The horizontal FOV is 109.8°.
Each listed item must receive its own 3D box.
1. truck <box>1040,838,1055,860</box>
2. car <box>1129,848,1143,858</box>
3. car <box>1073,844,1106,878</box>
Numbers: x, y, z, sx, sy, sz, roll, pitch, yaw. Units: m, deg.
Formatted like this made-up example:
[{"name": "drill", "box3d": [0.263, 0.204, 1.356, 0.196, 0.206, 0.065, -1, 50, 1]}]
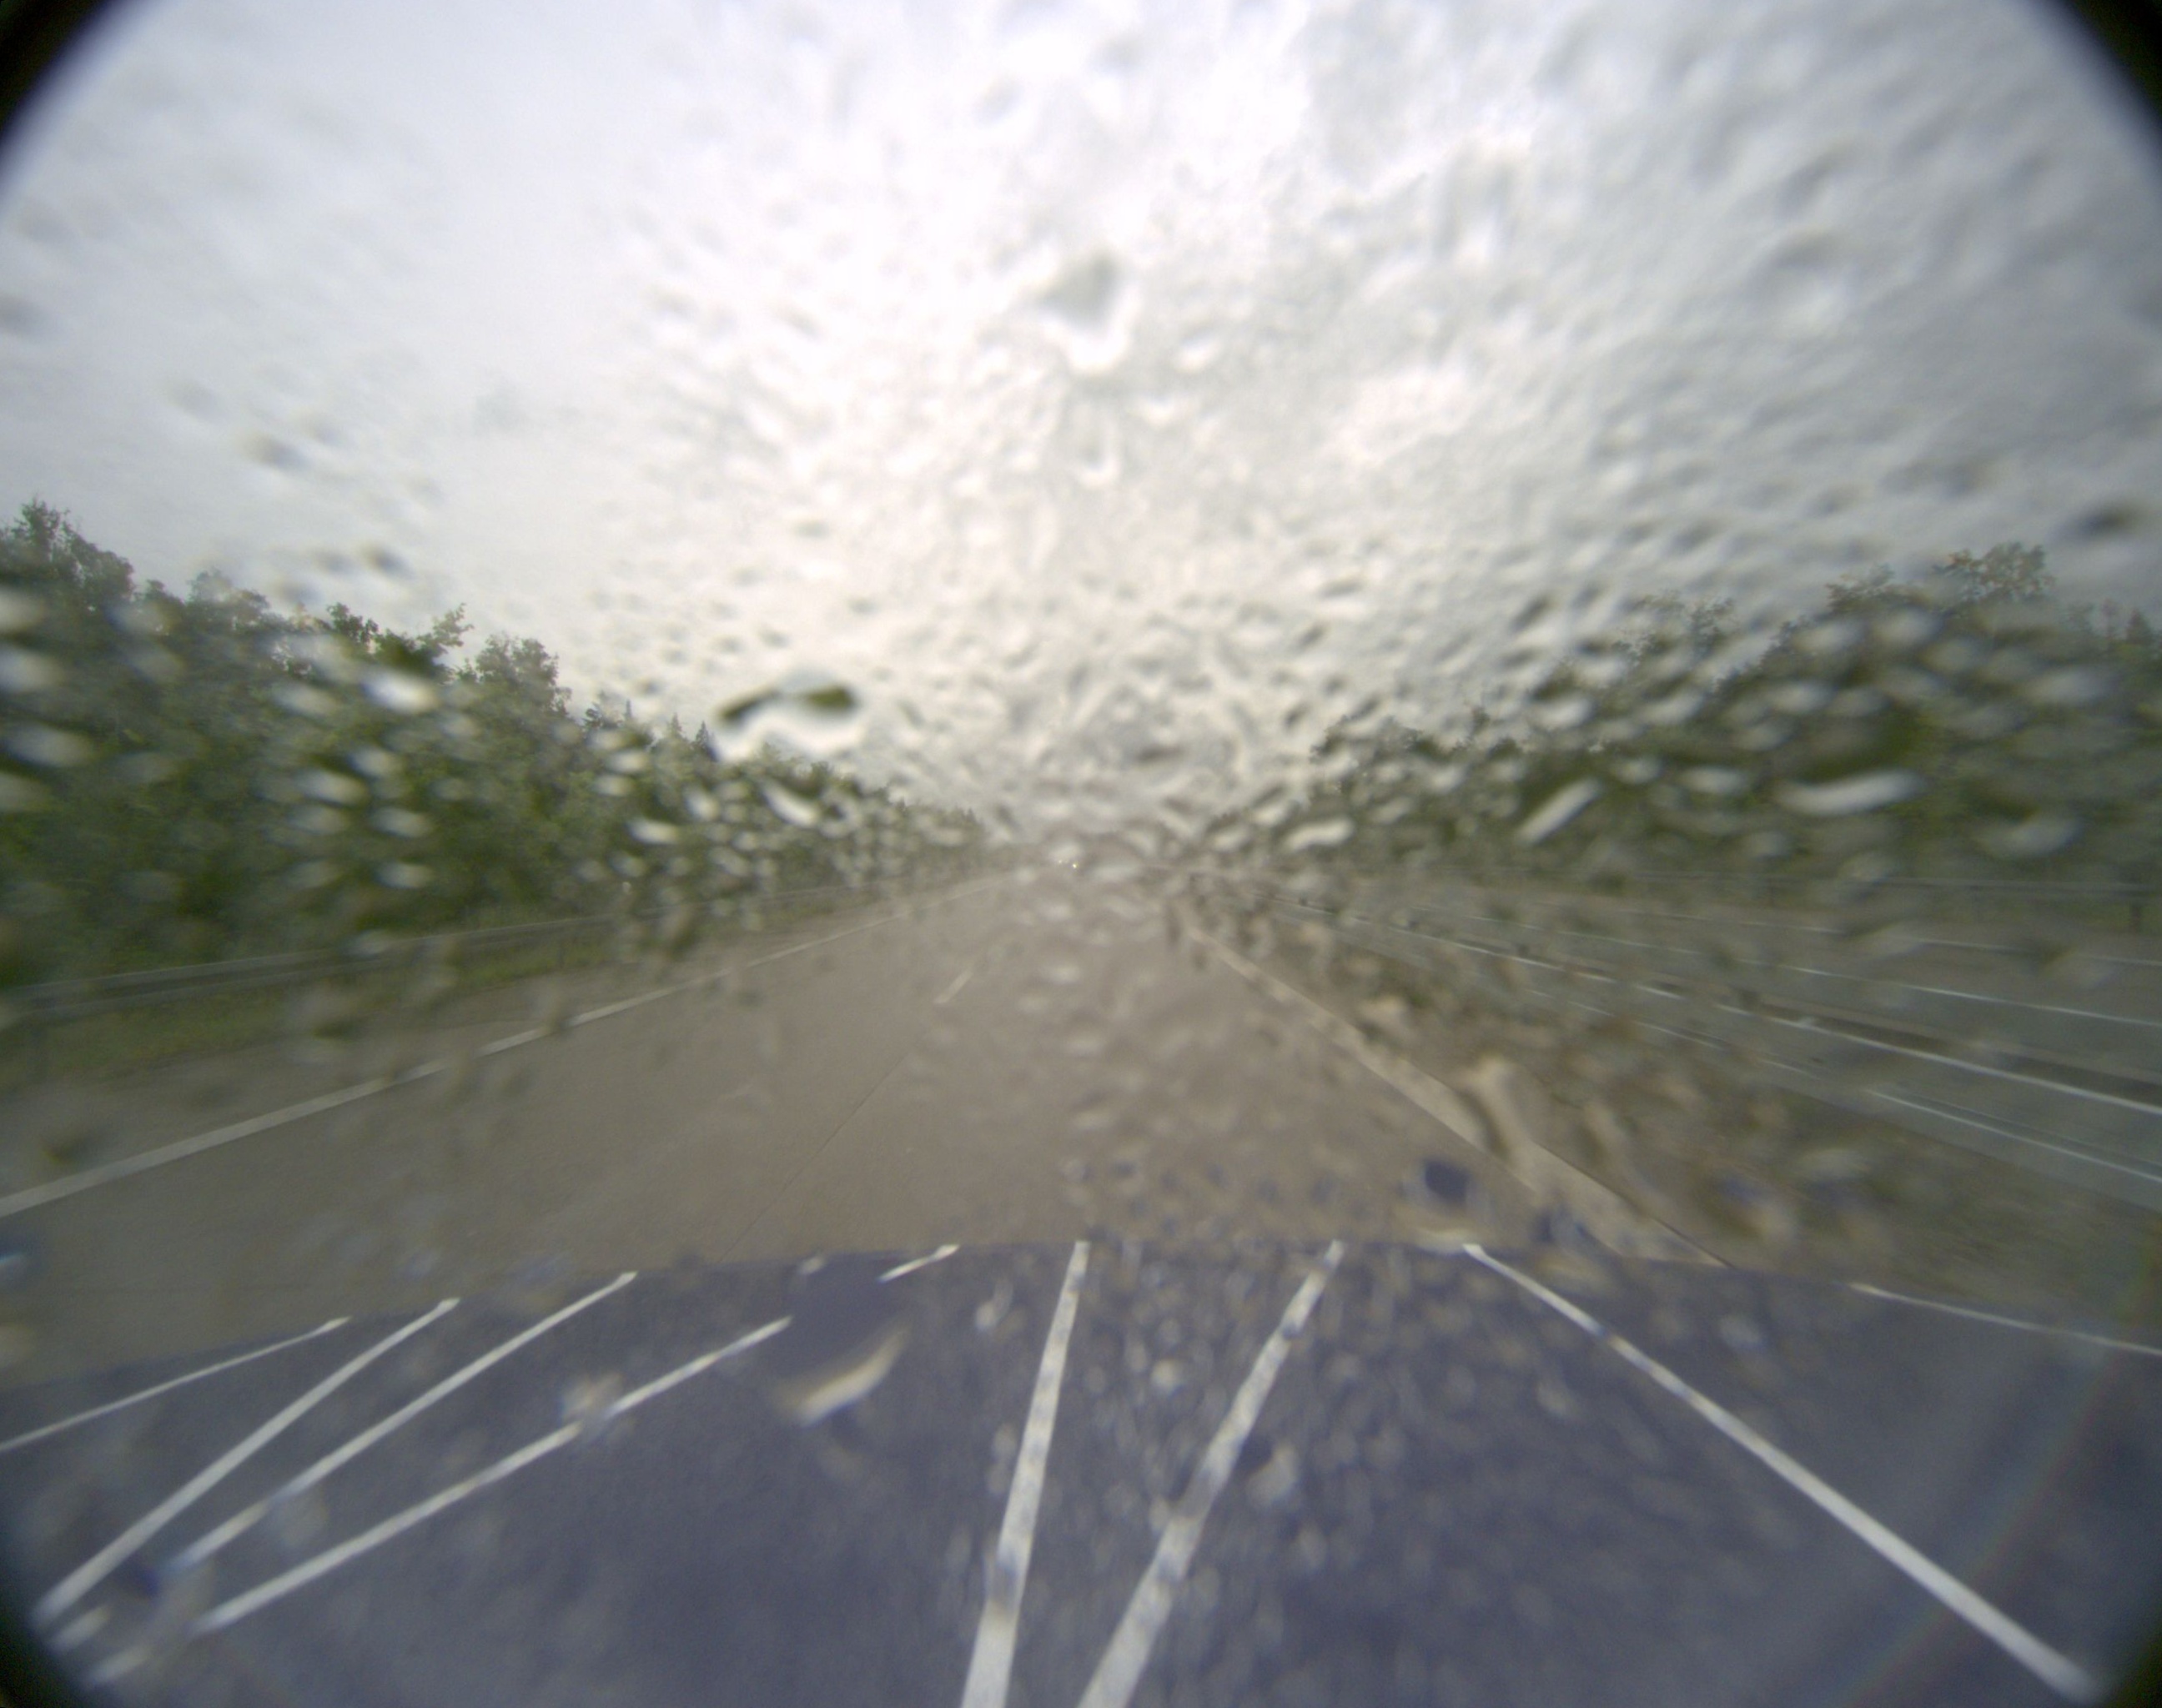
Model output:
[{"name": "truck", "box3d": [-6.548, -0.984, 146.774, 2.767, 4.063, 5.436, 1, -1, -4]}, {"name": "car", "box3d": [9.265, -0.158, 128.127, 1.999, 1.573, 3.999, -2, 0, -2]}, {"name": "car", "box3d": [0.512, 0.511, 50.307, 1.796, 2.113, 4.523, 1, -1, -4]}]
